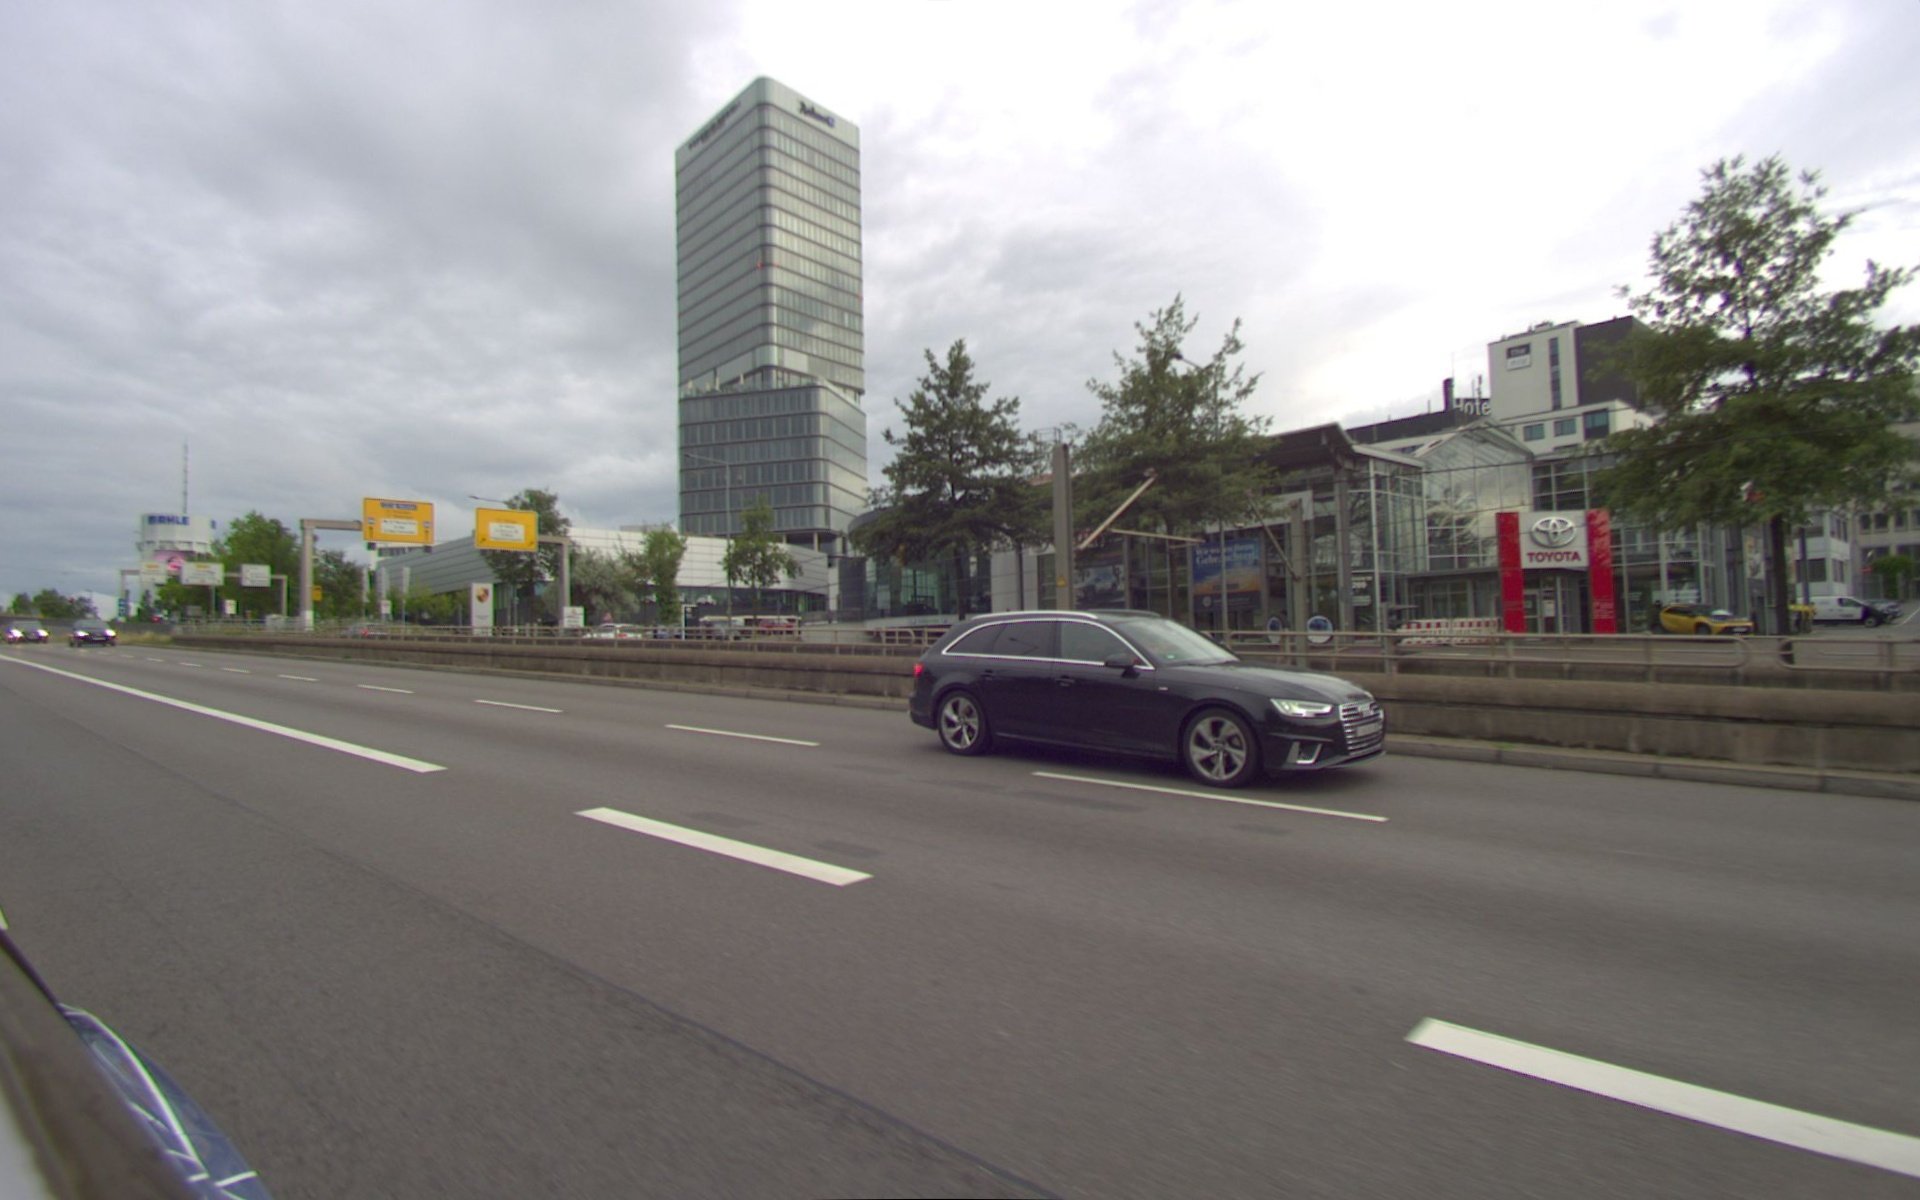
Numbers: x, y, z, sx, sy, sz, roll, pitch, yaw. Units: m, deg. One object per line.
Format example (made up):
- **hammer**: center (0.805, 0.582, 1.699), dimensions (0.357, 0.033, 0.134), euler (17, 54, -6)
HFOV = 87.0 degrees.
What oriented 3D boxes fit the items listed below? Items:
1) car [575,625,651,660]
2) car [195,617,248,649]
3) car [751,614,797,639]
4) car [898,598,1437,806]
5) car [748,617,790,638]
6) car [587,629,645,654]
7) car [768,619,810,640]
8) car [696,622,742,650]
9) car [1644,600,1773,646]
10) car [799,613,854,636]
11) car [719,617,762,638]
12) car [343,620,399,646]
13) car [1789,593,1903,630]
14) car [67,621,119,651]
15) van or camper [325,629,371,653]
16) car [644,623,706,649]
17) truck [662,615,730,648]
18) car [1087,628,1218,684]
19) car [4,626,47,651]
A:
- **car**: center (-16.887, 2.074, 49.163), dimensions (4.002, 1.597, 1.971), euler (-3, -3, 45)
- **car**: center (-41.720, 1.853, 57.144), dimensions (3.546, 1.602, 1.670), euler (-5, -3, 41)
- **car**: center (-15.583, 2.229, 84.597), dimensions (1.879, 1.896, 4.005), euler (-2, -3, -42)
- **car**: center (1.671, 0.752, 9.363), dimensions (4.632, 1.430, 1.790), euler (-1, 0, 43)
- **car**: center (-17.393, 2.513, 92.273), dimensions (1.894, 1.696, 4.004), euler (-2, -3, -42)
- **car**: center (-27.550, 3.305, 81.118), dimensions (1.923, 1.696, 3.943), euler (-5, -3, 43)
- **car**: center (-15.843, 2.755, 93.756), dimensions (1.894, 1.696, 4.004), euler (-2, -3, -42)
- **car**: center (-16.745, 2.528, 70.270), dimensions (1.890, 1.696, 4.515), euler (-2, -2, -29)
- **car**: center (30.007, 0.944, 40.738), dimensions (1.971, 1.663, 4.001), euler (-3, -2, -2)
- **car**: center (-11.758, 2.150, 88.552), dimensions (1.969, 1.896, 5.543), euler (-2, -1, -41)
- **car**: center (-19.645, 2.467, 90.527), dimensions (1.894, 1.696, 4.004), euler (-2, -3, -42)
- **car**: center (-37.747, 2.119, 64.809), dimensions (3.999, 1.597, 1.972), euler (-1, -2, 42)
- **car**: center (51.971, 0.693, 59.433), dimensions (1.738, 1.854, 4.733), euler (-2, -3, -41)
- **car**: center (-48.492, 1.991, 56.556), dimensions (4.001, 1.644, 1.847), euler (-2, -2, 44)
- **van or camper**: center (-47.617, 3.186, 78.709), dimensions (3.944, 1.670, 1.846), euler (-5, -3, 39)
- **car**: center (-20.909, 2.649, 74.300), dimensions (1.923, 1.696, 3.943), euler (-5, -3, 43)
- **truck**: center (-23.540, 2.860, 89.921), dimensions (7.414, 2.547, 2.339), euler (-5, -3, 45)
- **car**: center (6.730, 1.934, 35.579), dimensions (4.100, 1.791, 1.973), euler (-2, -1, 41)
- **car**: center (-65.630, 2.681, 71.044), dimensions (3.999, 1.644, 1.848), euler (-2, -2, 42)
